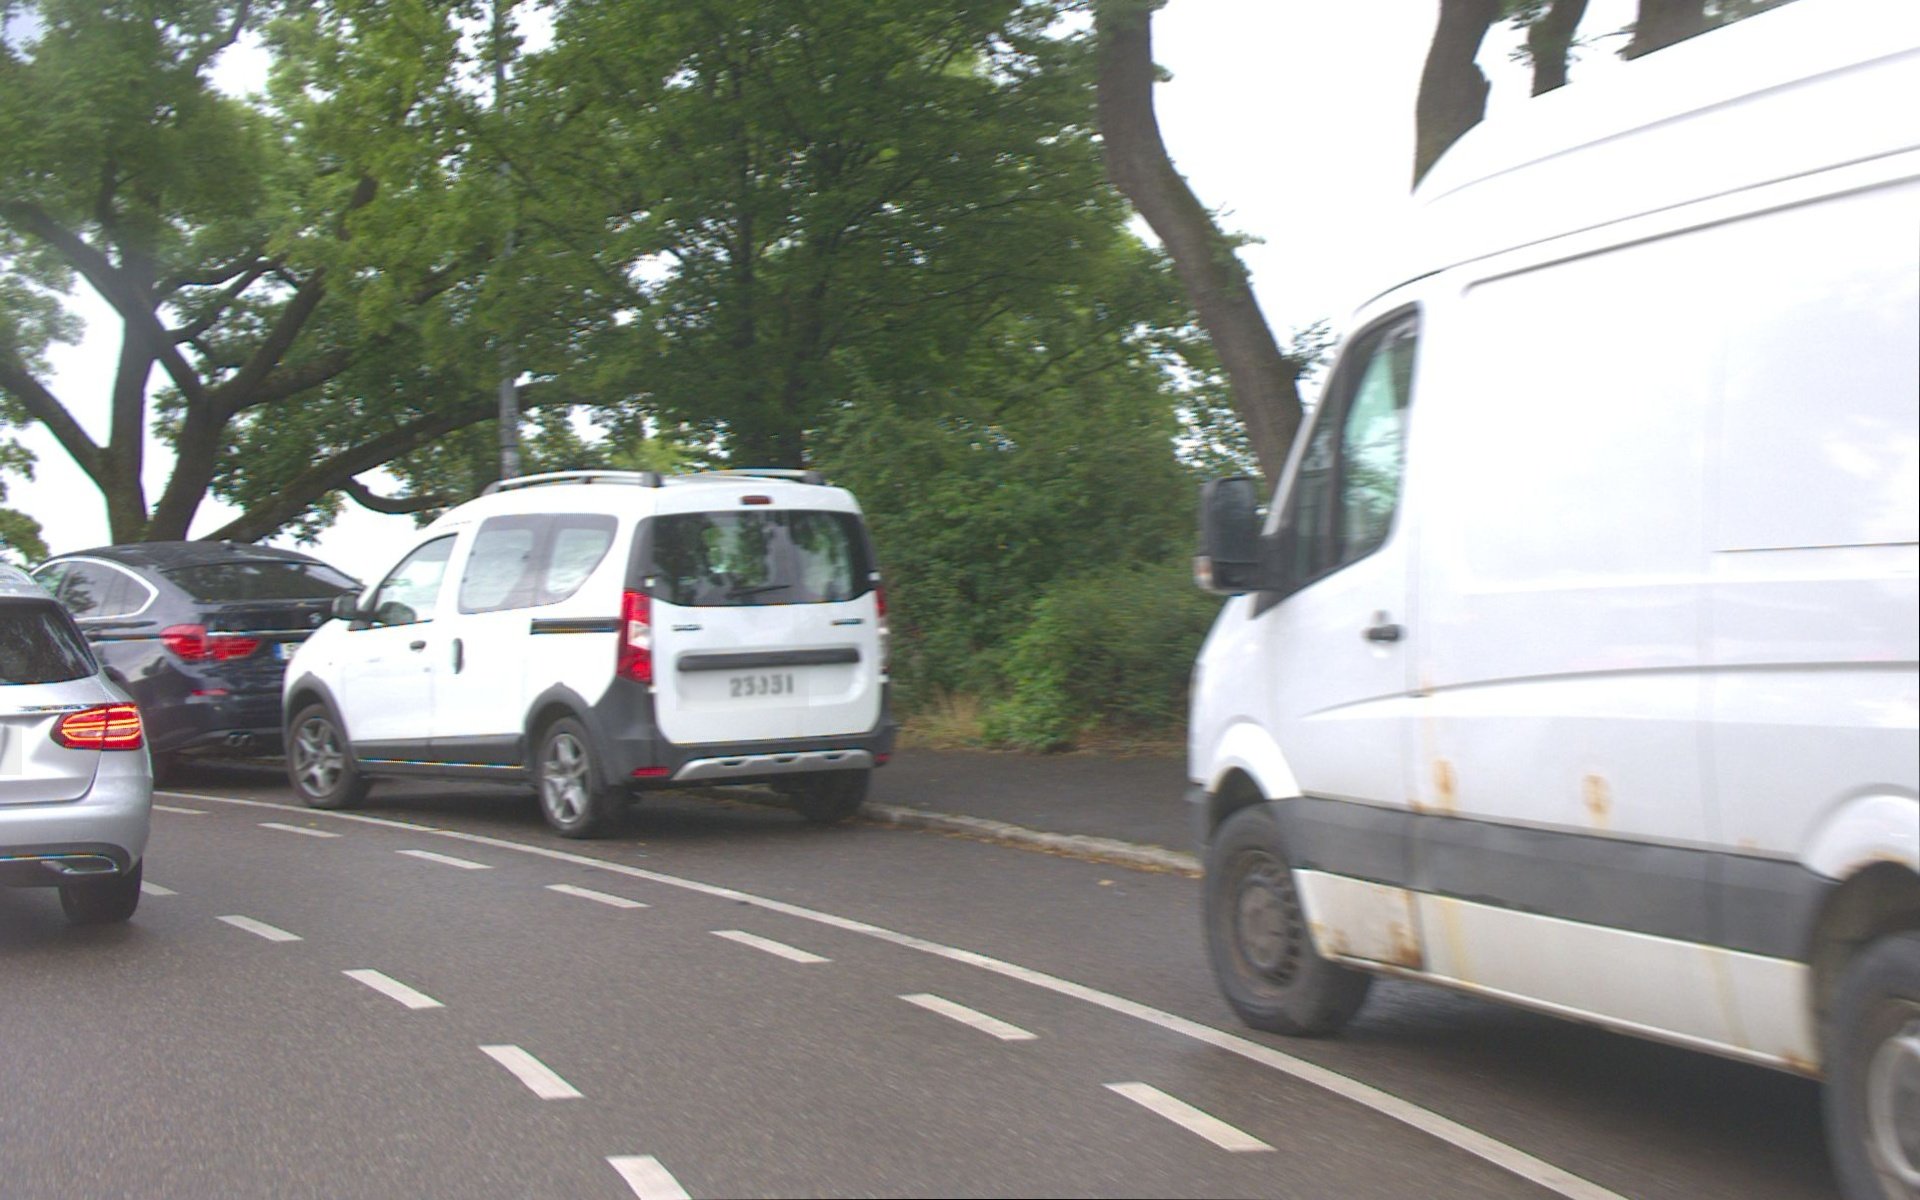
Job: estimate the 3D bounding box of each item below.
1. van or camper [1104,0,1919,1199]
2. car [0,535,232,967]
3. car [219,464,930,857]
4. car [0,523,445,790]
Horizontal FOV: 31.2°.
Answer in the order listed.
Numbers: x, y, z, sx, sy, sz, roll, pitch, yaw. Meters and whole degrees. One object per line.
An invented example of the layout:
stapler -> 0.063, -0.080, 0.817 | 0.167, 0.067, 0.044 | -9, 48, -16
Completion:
van or camper -> 2.286, -0.036, 8.486 | 2.066, 2.571, 5.890 | -3, 2, -15
car -> -4.554, 0.552, 14.310 | 1.982, 1.548, 4.298 | -2, 1, -26
car -> -2.216, 0.264, 18.655 | 1.747, 1.815, 4.422 | -4, 3, -37
car -> -5.530, 0.322, 23.300 | 1.860, 1.537, 4.894 | -4, 3, -37
